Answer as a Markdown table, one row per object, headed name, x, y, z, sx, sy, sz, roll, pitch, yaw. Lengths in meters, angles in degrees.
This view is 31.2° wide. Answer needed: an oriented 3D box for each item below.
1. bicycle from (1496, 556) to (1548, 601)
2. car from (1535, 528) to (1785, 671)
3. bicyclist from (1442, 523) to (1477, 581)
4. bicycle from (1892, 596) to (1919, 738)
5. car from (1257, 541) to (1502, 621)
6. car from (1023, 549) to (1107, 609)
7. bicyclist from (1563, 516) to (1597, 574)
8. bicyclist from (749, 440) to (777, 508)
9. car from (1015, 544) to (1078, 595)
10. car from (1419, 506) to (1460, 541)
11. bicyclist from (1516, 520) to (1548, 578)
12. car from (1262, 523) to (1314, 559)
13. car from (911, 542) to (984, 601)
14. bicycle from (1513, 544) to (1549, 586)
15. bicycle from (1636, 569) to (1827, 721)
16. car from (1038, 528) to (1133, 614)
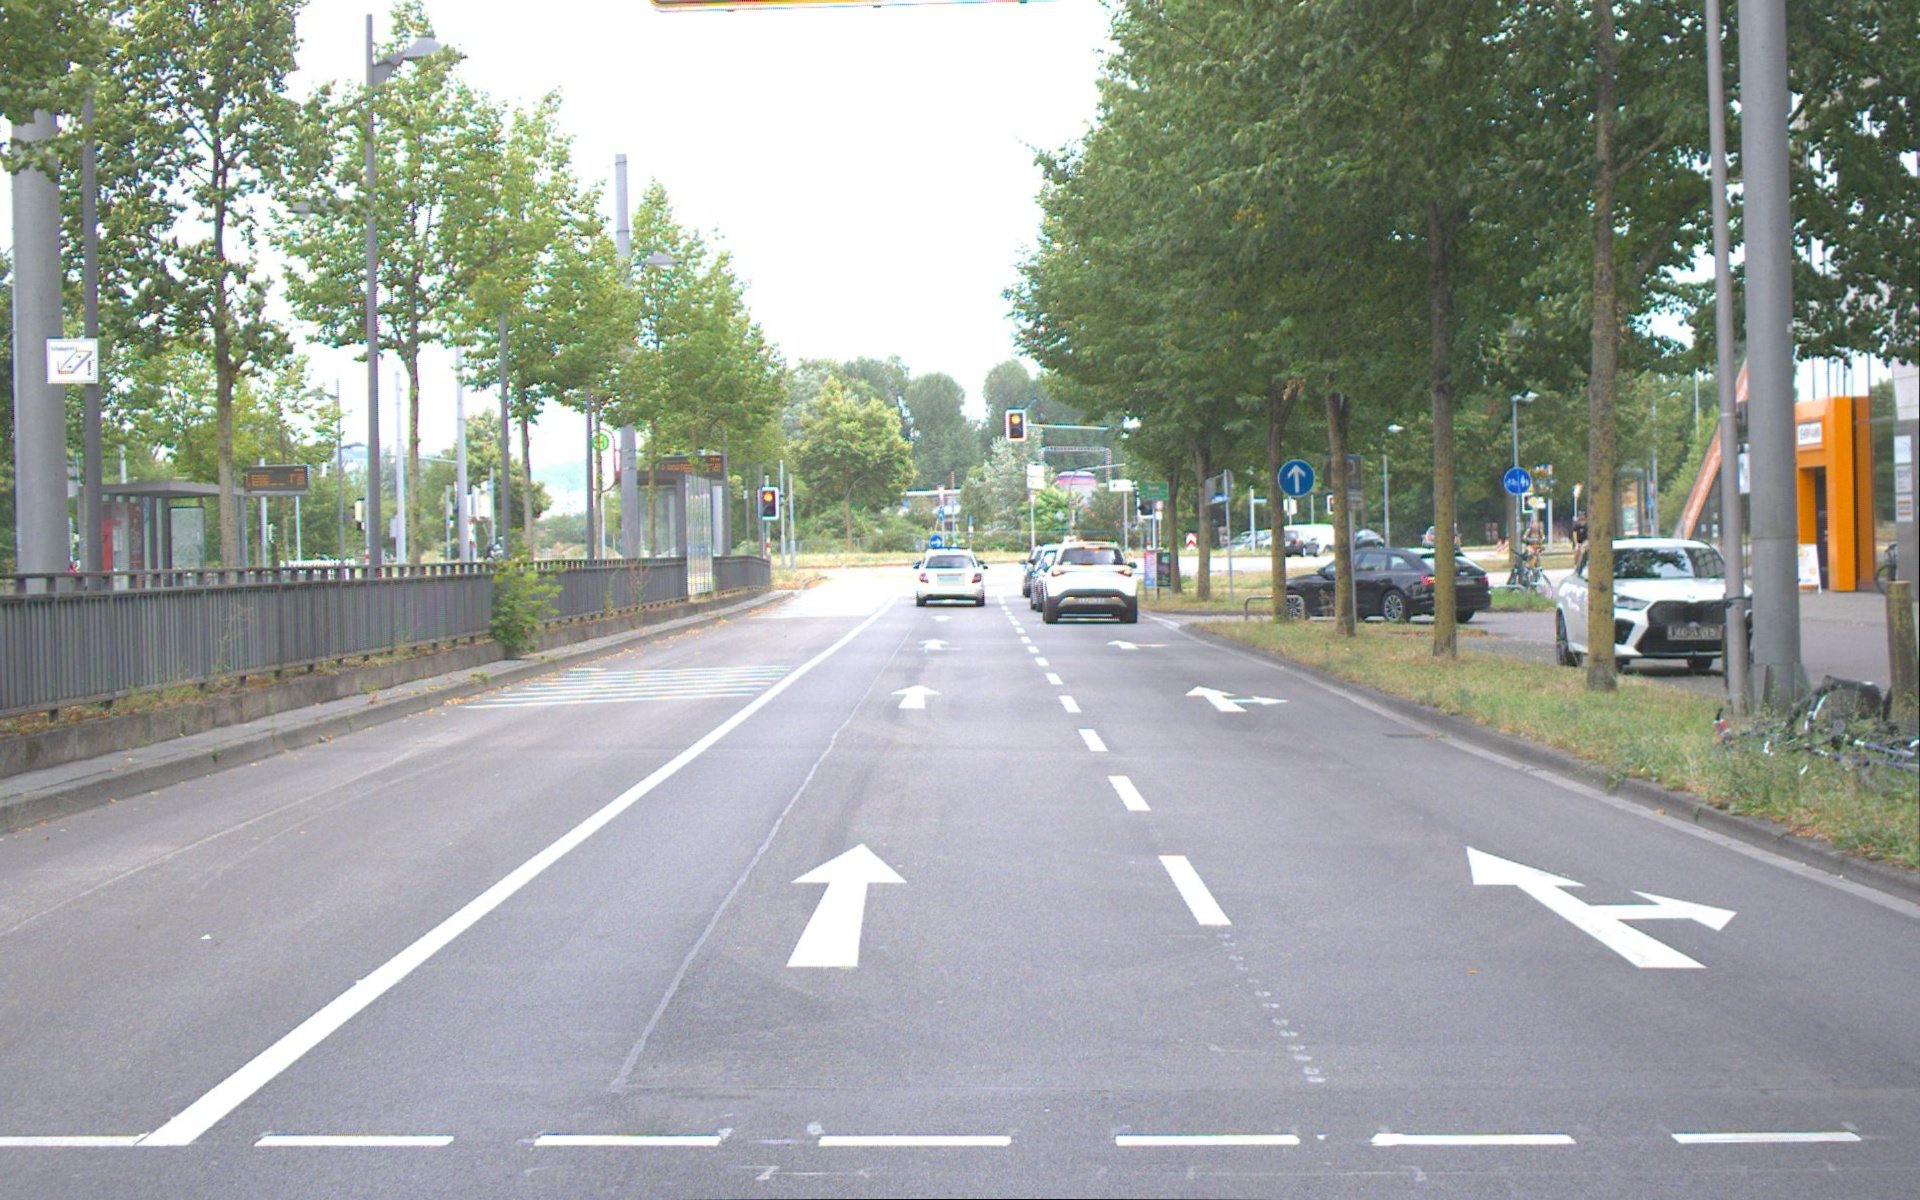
| name | x | y | z | sx | sy | sz | roll | pitch | yaw |
| --- | --- | --- | --- | --- | --- | --- | --- | --- | --- |
| bicycle | 12.280 | -0.467 | 75.163 | 0.629 | 0.952 | 2.108 | -1 | 1 | -4 |
| car | 8.135 | -0.055 | 40.356 | 1.938 | 1.546 | 4.594 | -1 | 1 | -1 |
| bicyclist | 15.656 | -1.498 | 107.787 | 0.866 | 1.783 | 1.175 | -1 | 1 | -1 |
| bicycle | 7.669 | 0.501 | 24.513 | 1.860 | 0.991 | 0.574 | 2 | 1 | -3 |
| car | 8.056 | -0.363 | 66.455 | 1.941 | 1.470 | 4.870 | -2 | 1 | -34 |
| car | 2.556 | -0.533 | 84.389 | 1.787 | 1.427 | 4.311 | -1 | 1 | -2 |
| bicyclist | 17.098 | -1.526 | 94.854 | 0.724 | 1.577 | 0.990 | -1 | 1 | 1 |
| bicyclist | -5.930 | -3.794 | 103.346 | 0.728 | 1.877 | 0.735 | -3 | 15 | -8 |
| car | 2.499 | -0.904 | 100.105 | 1.624 | 1.443 | 3.911 | 0 | 1 | -1 |
| car | 23.389 | -3.726 | 167.525 | 1.784 | 1.630 | 4.400 | -1 | 2 | 10 |
| bicyclist | 15.885 | -1.419 | 95.473 | 0.724 | 1.577 | 0.990 | -1 | 1 | 0 |
| car | 16.517 | -2.958 | 173.319 | 1.993 | 1.785 | 4.001 | 1 | 0 | -4 |
| car | -0.345 | -0.757 | 89.070 | 1.773 | 1.443 | 3.911 | -1 | 1 | -1 |
| bicycle | 15.884 | -0.983 | 95.662 | 0.673 | 1.139 | 2.007 | -1 | 1 | 0 |
| bicycle | 6.090 | 0.335 | 27.267 | 0.709 | 1.111 | 2.204 | 2 | 1 | -8 |
| car | 2.520 | -0.604 | 69.764 | 1.779 | 1.651 | 4.023 | -1 | 1 | 0 |
